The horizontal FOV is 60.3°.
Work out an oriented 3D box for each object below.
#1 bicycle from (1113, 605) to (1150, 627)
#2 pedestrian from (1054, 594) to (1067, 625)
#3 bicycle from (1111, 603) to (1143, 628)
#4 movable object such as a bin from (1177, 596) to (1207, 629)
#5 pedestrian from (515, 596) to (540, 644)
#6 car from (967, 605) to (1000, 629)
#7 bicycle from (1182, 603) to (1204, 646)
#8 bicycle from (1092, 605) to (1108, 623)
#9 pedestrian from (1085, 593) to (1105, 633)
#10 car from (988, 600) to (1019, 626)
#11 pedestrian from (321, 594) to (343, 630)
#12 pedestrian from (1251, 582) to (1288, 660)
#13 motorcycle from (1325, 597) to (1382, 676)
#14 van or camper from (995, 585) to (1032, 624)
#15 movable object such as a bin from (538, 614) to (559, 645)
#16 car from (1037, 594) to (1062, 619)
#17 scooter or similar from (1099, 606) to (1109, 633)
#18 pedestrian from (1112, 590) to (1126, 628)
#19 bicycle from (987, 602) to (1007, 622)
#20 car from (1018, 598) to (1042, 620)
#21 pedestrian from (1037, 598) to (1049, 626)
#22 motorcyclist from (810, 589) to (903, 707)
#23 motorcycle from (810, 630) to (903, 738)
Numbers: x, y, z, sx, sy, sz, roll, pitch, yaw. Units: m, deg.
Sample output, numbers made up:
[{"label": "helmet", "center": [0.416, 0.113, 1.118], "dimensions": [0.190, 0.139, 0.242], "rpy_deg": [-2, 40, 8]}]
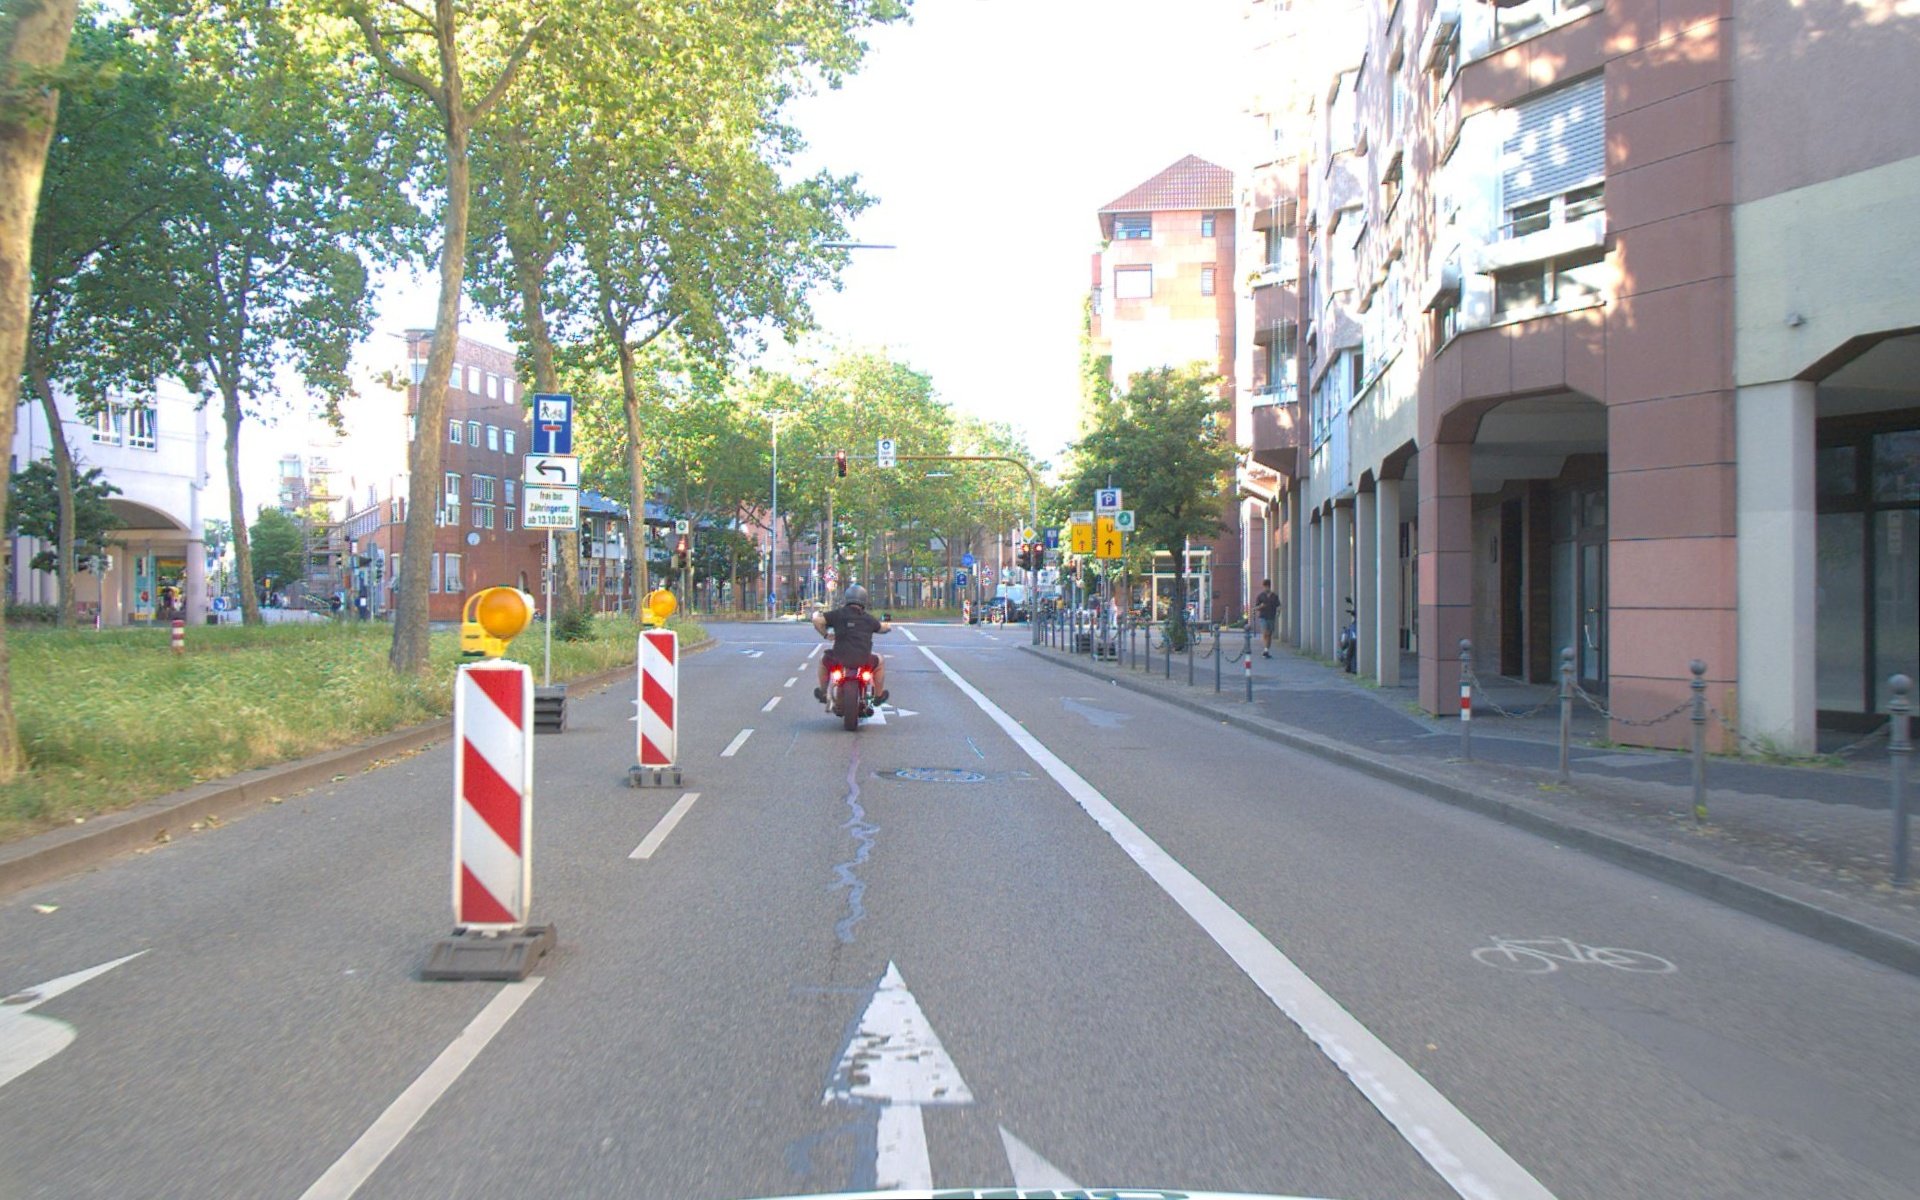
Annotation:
[{"label": "bicycle", "center": [8.679, 0.818, 83.876], "dimensions": [1.711, 1.071, 0.739], "rpy_deg": [0, 0, 25]}, {"label": "pedestrian", "center": [5.826, 0.558, 95.809], "dimensions": [0.686, 1.764, 0.768], "rpy_deg": [0, 0, 1]}, {"label": "bicycle", "center": [8.137, 0.756, 80.716], "dimensions": [1.534, 1.248, 0.578], "rpy_deg": [0, 0, 3]}, {"label": "movable object such as a bin", "center": [10.964, 0.585, 78.088], "dimensions": [1.380, 1.508, 0.872], "rpy_deg": [0, 0, 9]}, {"label": "pedestrian", "center": [-13.960, 0.640, 53.411], "dimensions": [0.605, 1.530, 0.535], "rpy_deg": [0, 0, 10]}, {"label": "car", "center": [1.392, 0.964, 96.324], "dimensions": [1.586, 1.325, 4.314], "rpy_deg": [0, 0, 6]}, {"label": "bicycle", "center": [6.972, 0.706, 49.422], "dimensions": [0.608, 1.247, 1.928], "rpy_deg": [0, 0, 10]}, {"label": "bicycle", "center": [7.519, 0.739, 88.949], "dimensions": [0.722, 0.956, 1.752], "rpy_deg": [0, 0, 2]}, {"label": "pedestrian", "center": [5.964, 0.569, 73.024], "dimensions": [0.770, 1.794, 0.609], "rpy_deg": [0, 0, -5]}, {"label": "car", "center": [2.817, 0.825, 106.299], "dimensions": [1.586, 1.647, 4.488], "rpy_deg": [0, 0, 7]}, {"label": "pedestrian", "center": [-33.319, 0.637, 87.820], "dimensions": [0.837, 1.902, 0.752], "rpy_deg": [0, 0, 5]}, {"label": "pedestrian", "center": [7.052, 0.469, 37.676], "dimensions": [0.764, 1.769, 0.837], "rpy_deg": [0, 0, 6]}, {"label": "motorcycle", "center": [7.264, 0.653, 30.596], "dimensions": [0.478, 1.396, 2.089], "rpy_deg": [0, 0, -2]}, {"label": "van or camper", "center": [3.666, 0.315, 112.850], "dimensions": [2.005, 2.585, 5.777], "rpy_deg": [0, 0, 7]}, {"label": "movable object such as a bin", "center": [-13.300, 0.957, 53.446], "dimensions": [0.499, 0.970, 0.540], "rpy_deg": [0, 0, 10]}, {"label": "car", "center": [7.460, 0.498, 137.241], "dimensions": [1.796, 2.049, 4.391], "rpy_deg": [0, 0, 7]}, {"label": "scooter or similar", "center": [6.370, 0.867, 73.026], "dimensions": [0.386, 1.178, 1.250], "rpy_deg": [0, 0, 3]}, {"label": "pedestrian", "center": [6.994, 0.391, 72.890], "dimensions": [0.451, 1.702, 0.678], "rpy_deg": [0, 0, -10]}, {"label": "bicycle", "center": [1.998, 0.644, 89.416], "dimensions": [0.724, 1.071, 1.747], "rpy_deg": [0, 0, -12]}, {"label": "car", "center": [5.362, 0.655, 126.277], "dimensions": [1.586, 1.638, 3.777], "rpy_deg": [0, 0, 5]}, {"label": "pedestrian", "center": [4.821, 0.677, 95.953], "dimensions": [0.631, 1.606, 0.748], "rpy_deg": [0, 0, 1]}, {"label": "motorcyclist", "center": [-1.186, 0.532, 18.902], "dimensions": [0.992, 1.285, 0.773], "rpy_deg": [2, 0, -5]}, {"label": "motorcycle", "center": [-1.209, 0.926, 18.834], "dimensions": [0.998, 1.116, 2.005], "rpy_deg": [0, 0, -5]}]
